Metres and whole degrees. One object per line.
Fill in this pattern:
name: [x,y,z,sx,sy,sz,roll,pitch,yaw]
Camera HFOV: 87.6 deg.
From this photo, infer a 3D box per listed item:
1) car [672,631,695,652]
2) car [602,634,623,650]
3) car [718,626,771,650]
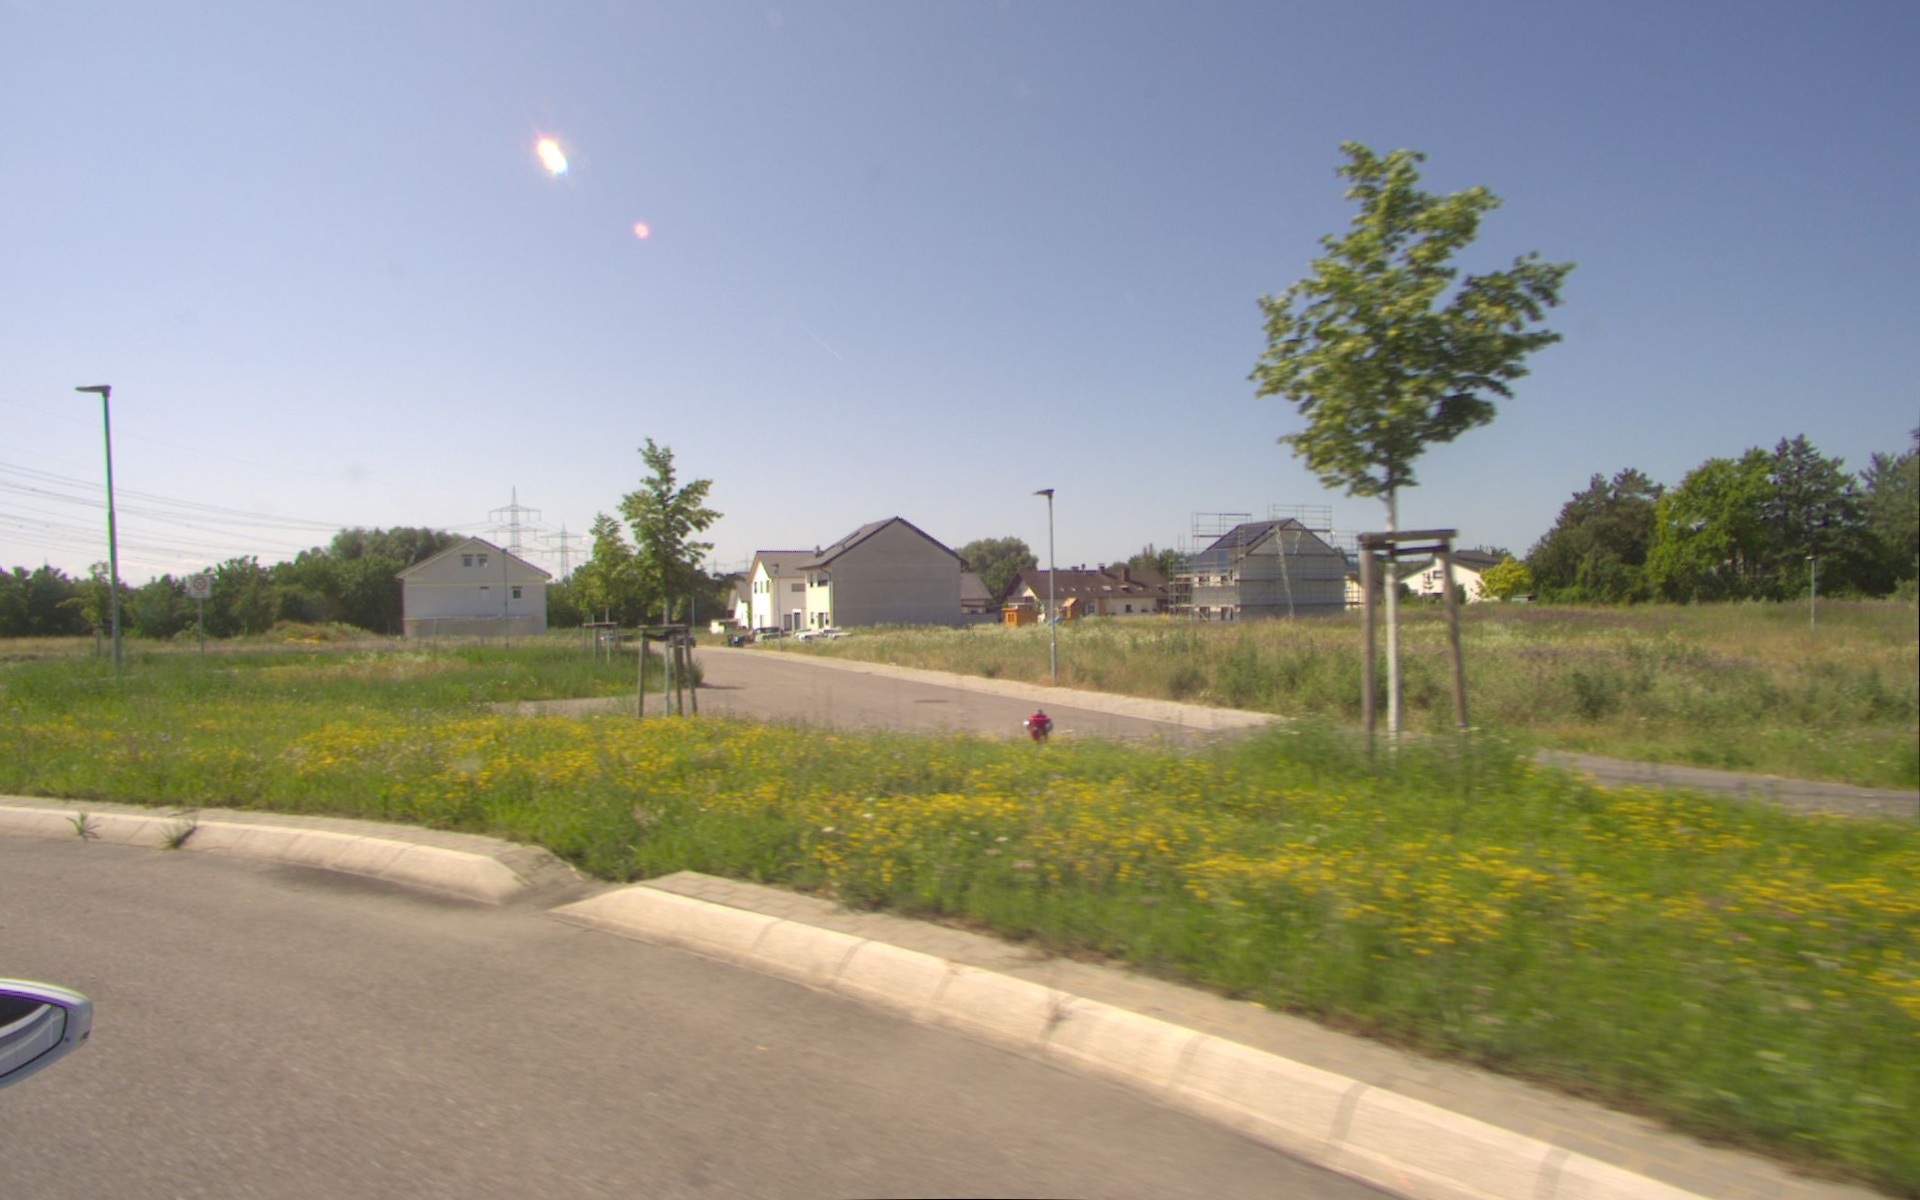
car: [-23.311,3.519,84.510,1.650,1.682,3.485,-1,-2,-13]
car: [-37.037,4.495,106.734,1.650,1.682,3.485,-1,-2,-13]
car: [-17.567,3.080,81.515,3.932,1.817,1.995,-1,-1,-21]
